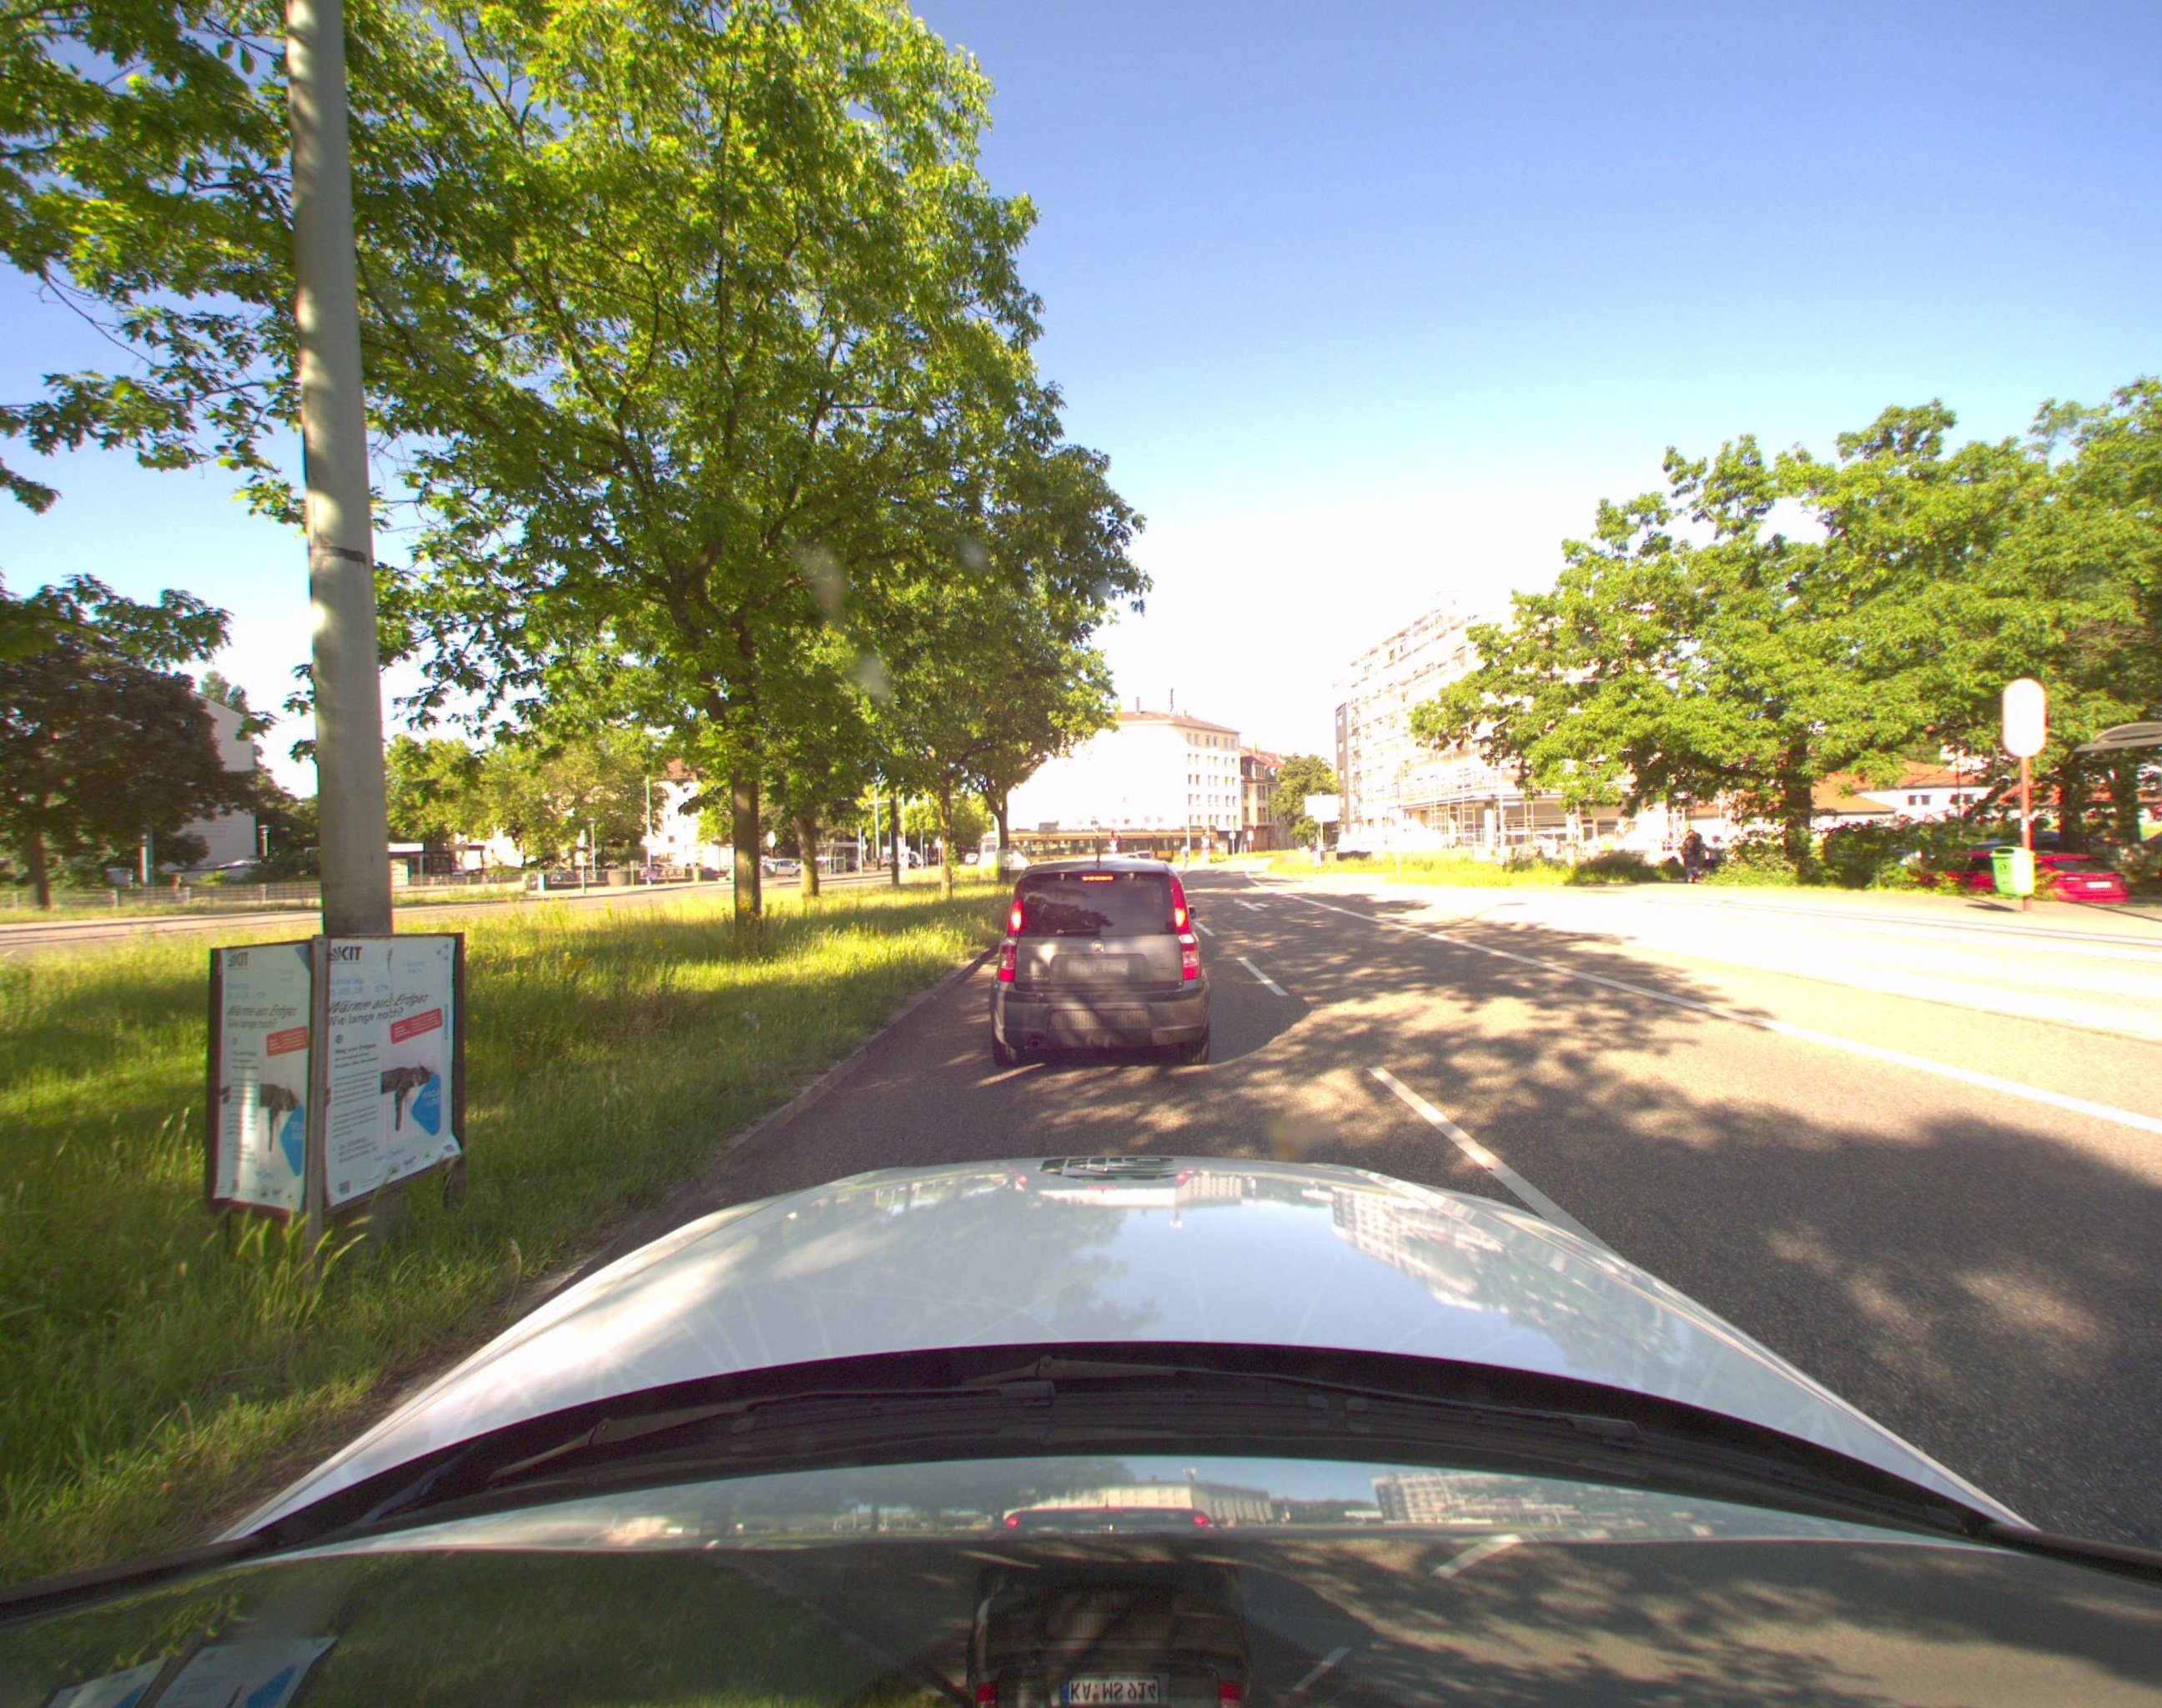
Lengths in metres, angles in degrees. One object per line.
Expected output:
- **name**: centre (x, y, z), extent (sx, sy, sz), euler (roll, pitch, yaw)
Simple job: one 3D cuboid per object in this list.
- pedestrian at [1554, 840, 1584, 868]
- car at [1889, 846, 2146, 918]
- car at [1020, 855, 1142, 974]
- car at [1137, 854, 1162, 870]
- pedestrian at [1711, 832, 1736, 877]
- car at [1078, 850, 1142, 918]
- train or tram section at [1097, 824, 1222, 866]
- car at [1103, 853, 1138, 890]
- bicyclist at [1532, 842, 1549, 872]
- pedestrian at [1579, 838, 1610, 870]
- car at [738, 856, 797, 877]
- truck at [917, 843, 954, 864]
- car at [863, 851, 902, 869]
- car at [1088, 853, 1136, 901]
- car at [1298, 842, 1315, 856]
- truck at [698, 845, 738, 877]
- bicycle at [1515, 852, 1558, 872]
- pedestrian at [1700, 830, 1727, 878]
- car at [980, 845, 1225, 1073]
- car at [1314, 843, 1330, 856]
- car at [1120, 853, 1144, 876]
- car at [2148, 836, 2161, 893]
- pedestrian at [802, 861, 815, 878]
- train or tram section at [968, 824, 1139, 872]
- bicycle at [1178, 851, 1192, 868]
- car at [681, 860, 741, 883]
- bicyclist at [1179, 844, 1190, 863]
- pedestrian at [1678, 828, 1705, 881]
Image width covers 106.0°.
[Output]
- **pedestrian**: centre (25.304, 0.002, 42.269), extent (0.893, 1.447, 0.962), euler (-2, 0, -13)
- **car**: centre (21.990, 0.598, 19.377), extent (1.747, 1.486, 3.743), euler (-2, 0, -2)
- **car**: centre (0.053, 0.745, 11.764), extent (1.458, 1.401, 3.395), euler (-2, 0, 2)
- **car**: centre (4.868, 0.575, 57.718), extent (1.133, 1.064, 2.735), euler (-2, 0, 19)
- **pedestrian**: centre (20.915, 0.014, 26.515), extent (0.516, 1.447, 0.595), euler (-2, 0, 28)
- **car**: centre (0.729, 0.696, 20.796), extent (1.458, 1.508, 3.506), euler (-2, 0, 2)
- **train or tram section**: centre (8.706, -1.057, 84.044), extent (3.263, 3.770, 20.943), euler (-2, 0, 34)
- **car**: centre (1.605, 0.691, 33.969), extent (1.351, 1.449, 3.267), euler (-2, 0, 2)
- **bicyclist**: centre (22.904, 0.150, 40.623), extent (0.579, 1.493, 0.553), euler (-2, 0, 17)
- **pedestrian**: centre (26.661, 0.004, 42.304), extent (0.889, 1.653, 0.984), euler (-2, 0, -12)
- **car**: centre (-27.316, 1.066, 71.068), extent (1.974, 1.684, 4.348), euler (-2, 0, 40)
- **truck**: centre (-23.006, -0.142, 128.572), extent (5.425, 3.168, 2.358), euler (-2, 0, 30)
- **car**: centre (-23.997, 0.718, 98.750), extent (4.164, 2.013, 1.931), euler (-2, 0, -1)
- **car**: centre (1.033, 0.725, 27.410), extent (1.458, 1.424, 3.383), euler (-2, 0, 2)
- **car**: centre (24.917, -0.534, 89.999), extent (1.669, 1.449, 3.588), euler (-2, 0, 18)
- **truck**: centre (-33.073, 0.629, 74.204), extent (2.012, 2.805, 3.951), euler (-2, 0, -44)
- **bicycle**: centre (22.766, 0.385, 40.686), extent (1.776, 0.945, 0.562), euler (-2, 0, 16)
- **pedestrian**: centre (19.339, -0.014, 24.903), extent (0.516, 1.447, 0.595), euler (-2, 0, 28)
- **car**: centre (0.209, 0.700, 7.536), extent (1.622, 1.508, 4.002), euler (-2, 0, 2)
- **car**: centre (27.743, -0.531, 93.561), extent (1.514, 1.314, 3.304), euler (-2, 0, 20)
- **car**: centre (3.099, 0.619, 49.679), extent (1.351, 1.281, 2.877), euler (-2, 0, 2)
- **car**: centre (29.866, 0.256, 20.180), extent (1.911, 1.486, 3.725), euler (-2, 0, -17)
- **pedestrian**: centre (-26.271, 1.473, 78.575), extent (0.910, 1.607, 0.802), euler (-2, 0, 41)
- **train or tram section**: centre (-1.576, -0.616, 69.107), extent (3.263, 3.513, 19.509), euler (-2, 0, 35)
- **bicycle**: centre (7.689, 0.394, 60.393), extent (0.706, 1.198, 2.520), euler (0, -1, 1)
- **car**: centre (-30.620, 1.420, 67.510), extent (1.974, 1.684, 4.025), euler (-2, 0, 40)
- **bicyclist**: centre (7.655, -0.033, 60.253), extent (0.739, 1.438, 0.845), euler (0, -1, 1)
- **pedestrian**: centre (18.548, 0.013, 24.752), extent (0.516, 1.612, 0.595), euler (-2, 0, 28)
